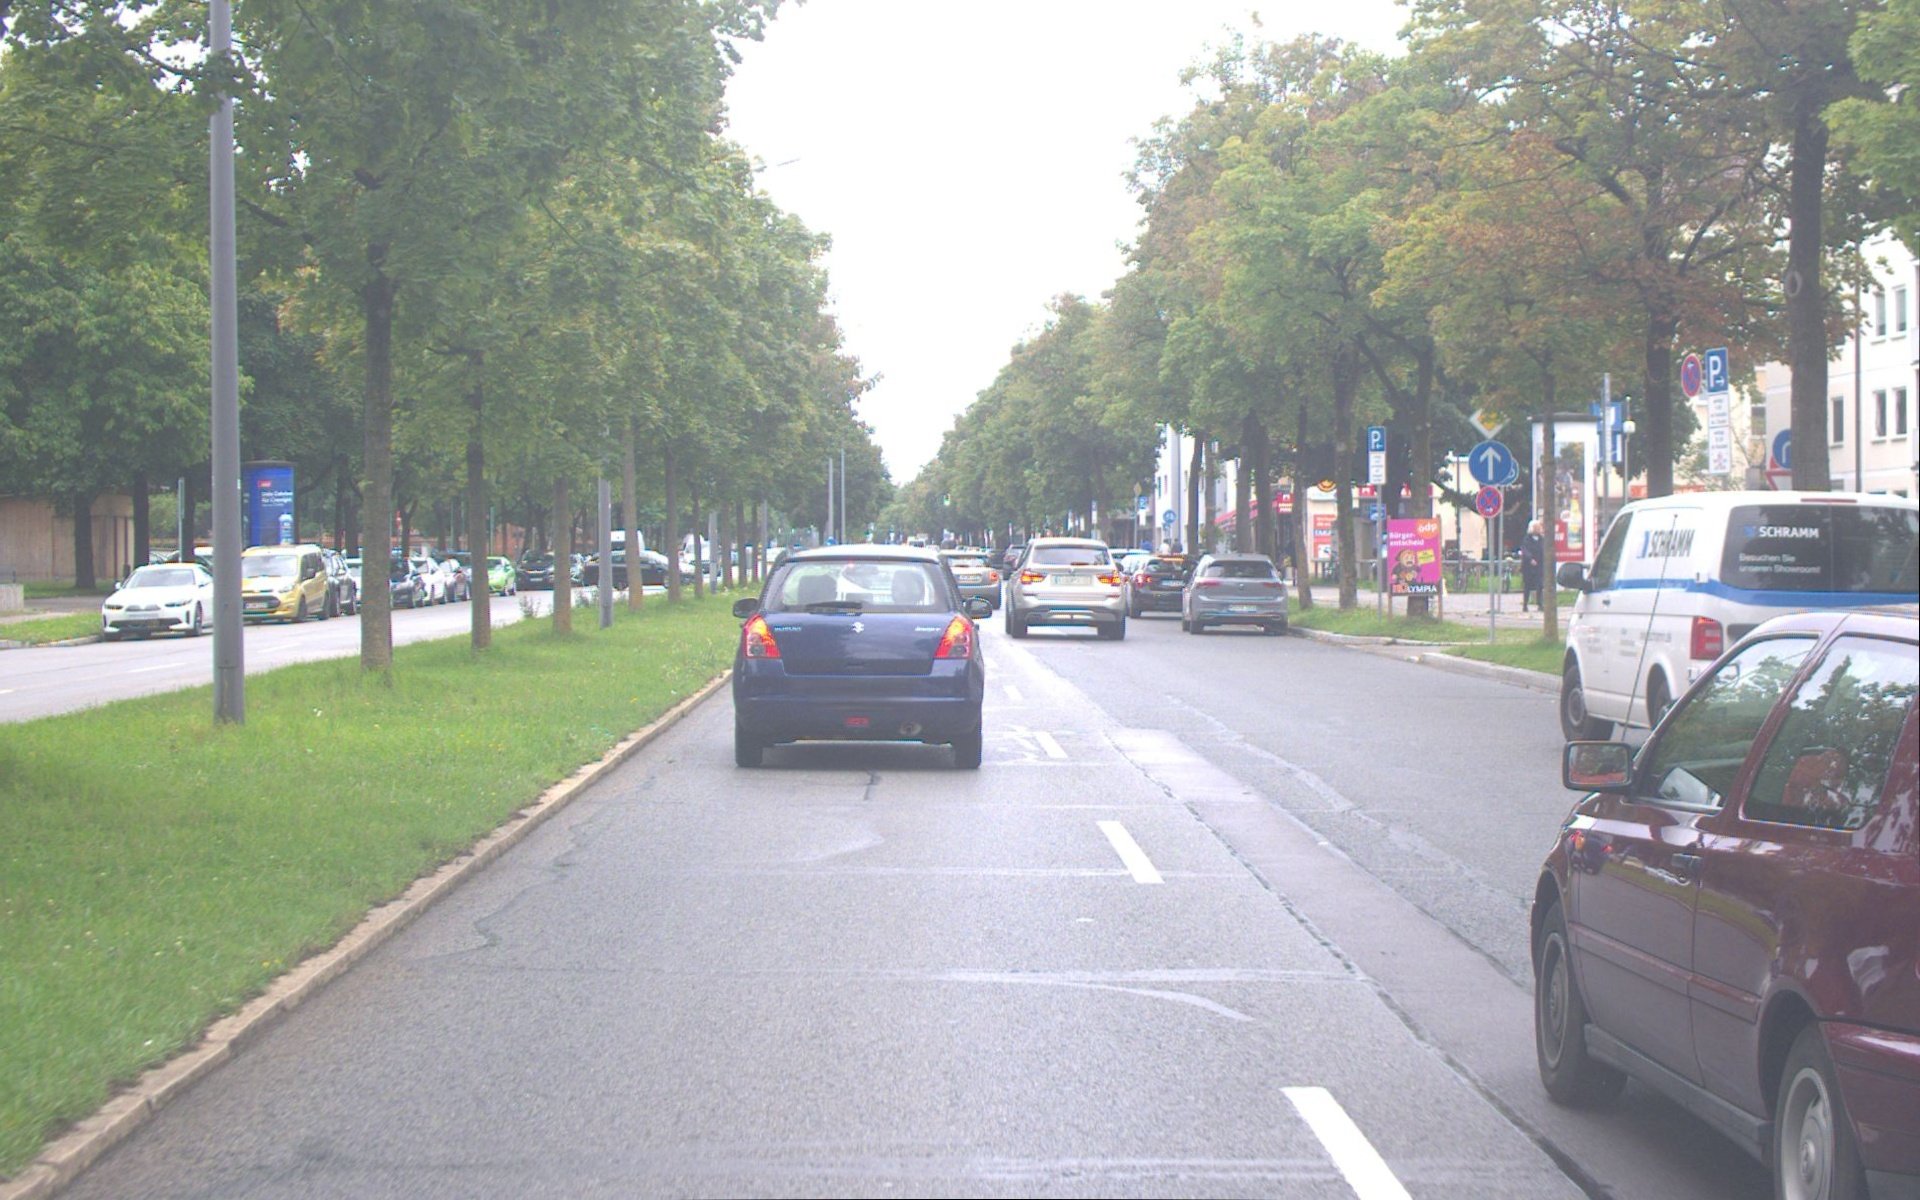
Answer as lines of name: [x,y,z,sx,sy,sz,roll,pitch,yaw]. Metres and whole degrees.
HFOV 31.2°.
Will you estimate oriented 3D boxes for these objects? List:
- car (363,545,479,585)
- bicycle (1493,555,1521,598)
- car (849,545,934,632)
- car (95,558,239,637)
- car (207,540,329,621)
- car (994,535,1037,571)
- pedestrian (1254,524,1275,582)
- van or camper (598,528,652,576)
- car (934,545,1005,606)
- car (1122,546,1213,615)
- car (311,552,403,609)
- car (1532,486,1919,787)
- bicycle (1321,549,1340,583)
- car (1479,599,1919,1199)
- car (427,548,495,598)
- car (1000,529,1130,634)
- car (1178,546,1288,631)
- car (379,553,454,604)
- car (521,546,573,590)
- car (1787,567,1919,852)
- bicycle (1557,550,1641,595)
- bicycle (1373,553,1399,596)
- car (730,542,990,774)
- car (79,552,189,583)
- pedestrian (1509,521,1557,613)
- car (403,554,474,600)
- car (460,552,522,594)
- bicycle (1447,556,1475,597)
car: [-19.855,-1.301,126.732,4.121,1.463,1.840,0,1,-6]
bicycle: [14.264,-0.614,89.646,0.431,1.097,1.884,-1,1,0]
car: [-1.229,-0.213,60.460,1.444,1.478,3.107,0,1,-2]
car: [-15.940,-0.075,69.334,1.856,1.467,4.875,-2,1,-1]
car: [-16.089,-0.485,80.167,1.814,1.777,4.818,-2,1,0]
car: [2.685,-2.296,167.069,1.865,1.677,4.225,-1,1,-2]
pedestrian: [9.946,-1.526,112.312,0.588,1.883,0.902,-1,0,-2]
van or camper: [-17.716,-2.543,181.982,2.117,2.473,7.449,1,1,0]
car: [0.212,-0.632,84.917,1.682,1.458,3.734,0,1,-1]
car: [4.593,-0.455,76.557,1.750,1.460,4.176,1,1,0]
car: [-16.257,-0.552,92.896,1.762,1.445,4.533,-2,1,-1]
car: [5.618,0.199,24.794,1.881,1.921,4.934,1,1,-3]
bicycle: [11.971,-1.098,111.014,0.389,1.101,1.853,1,1,0]
car: [2.419,0.732,7.981,1.682,1.379,3.919,1,1,-2]
car: [-16.651,-0.921,114.862,1.690,1.581,4.371,-2,1,-2]
car: [1.726,-0.331,57.702,1.865,1.655,4.408,1,1,-2]
car: [4.958,-0.238,62.857,1.682,1.460,4.115,1,1,0]
car: [-16.422,-0.670,104.018,1.607,1.439,4.279,-2,1,-1]
car: [-16.853,-1.317,140.392,1.716,1.735,3.879,1,1,-2]
car: [5.771,0.587,17.992,1.696,1.443,4.042,1,1,-3]
bicycle: [15.113,-0.643,81.323,1.877,1.025,0.433,-1,1,-4]
bicycle: [11.551,-0.694,93.237,0.431,1.129,1.884,-1,1,0]
car: [-0.712,0.347,24.315,1.682,1.496,3.919,0,1,-2]
car: [-33.331,-1.324,138.677,4.413,1.197,1.670,1,0,31]
pedestrian: [10.810,-0.623,64.891,0.639,1.724,0.601,1,0,-31]
car: [-16.524,-0.738,109.076,1.591,1.392,3.630,-2,1,1]
car: [-16.784,-0.979,123.288,1.547,1.404,3.879,-2,1,2]
bicycle: [13.094,-0.616,89.877,0.431,1.025,1.884,-1,1,0]
